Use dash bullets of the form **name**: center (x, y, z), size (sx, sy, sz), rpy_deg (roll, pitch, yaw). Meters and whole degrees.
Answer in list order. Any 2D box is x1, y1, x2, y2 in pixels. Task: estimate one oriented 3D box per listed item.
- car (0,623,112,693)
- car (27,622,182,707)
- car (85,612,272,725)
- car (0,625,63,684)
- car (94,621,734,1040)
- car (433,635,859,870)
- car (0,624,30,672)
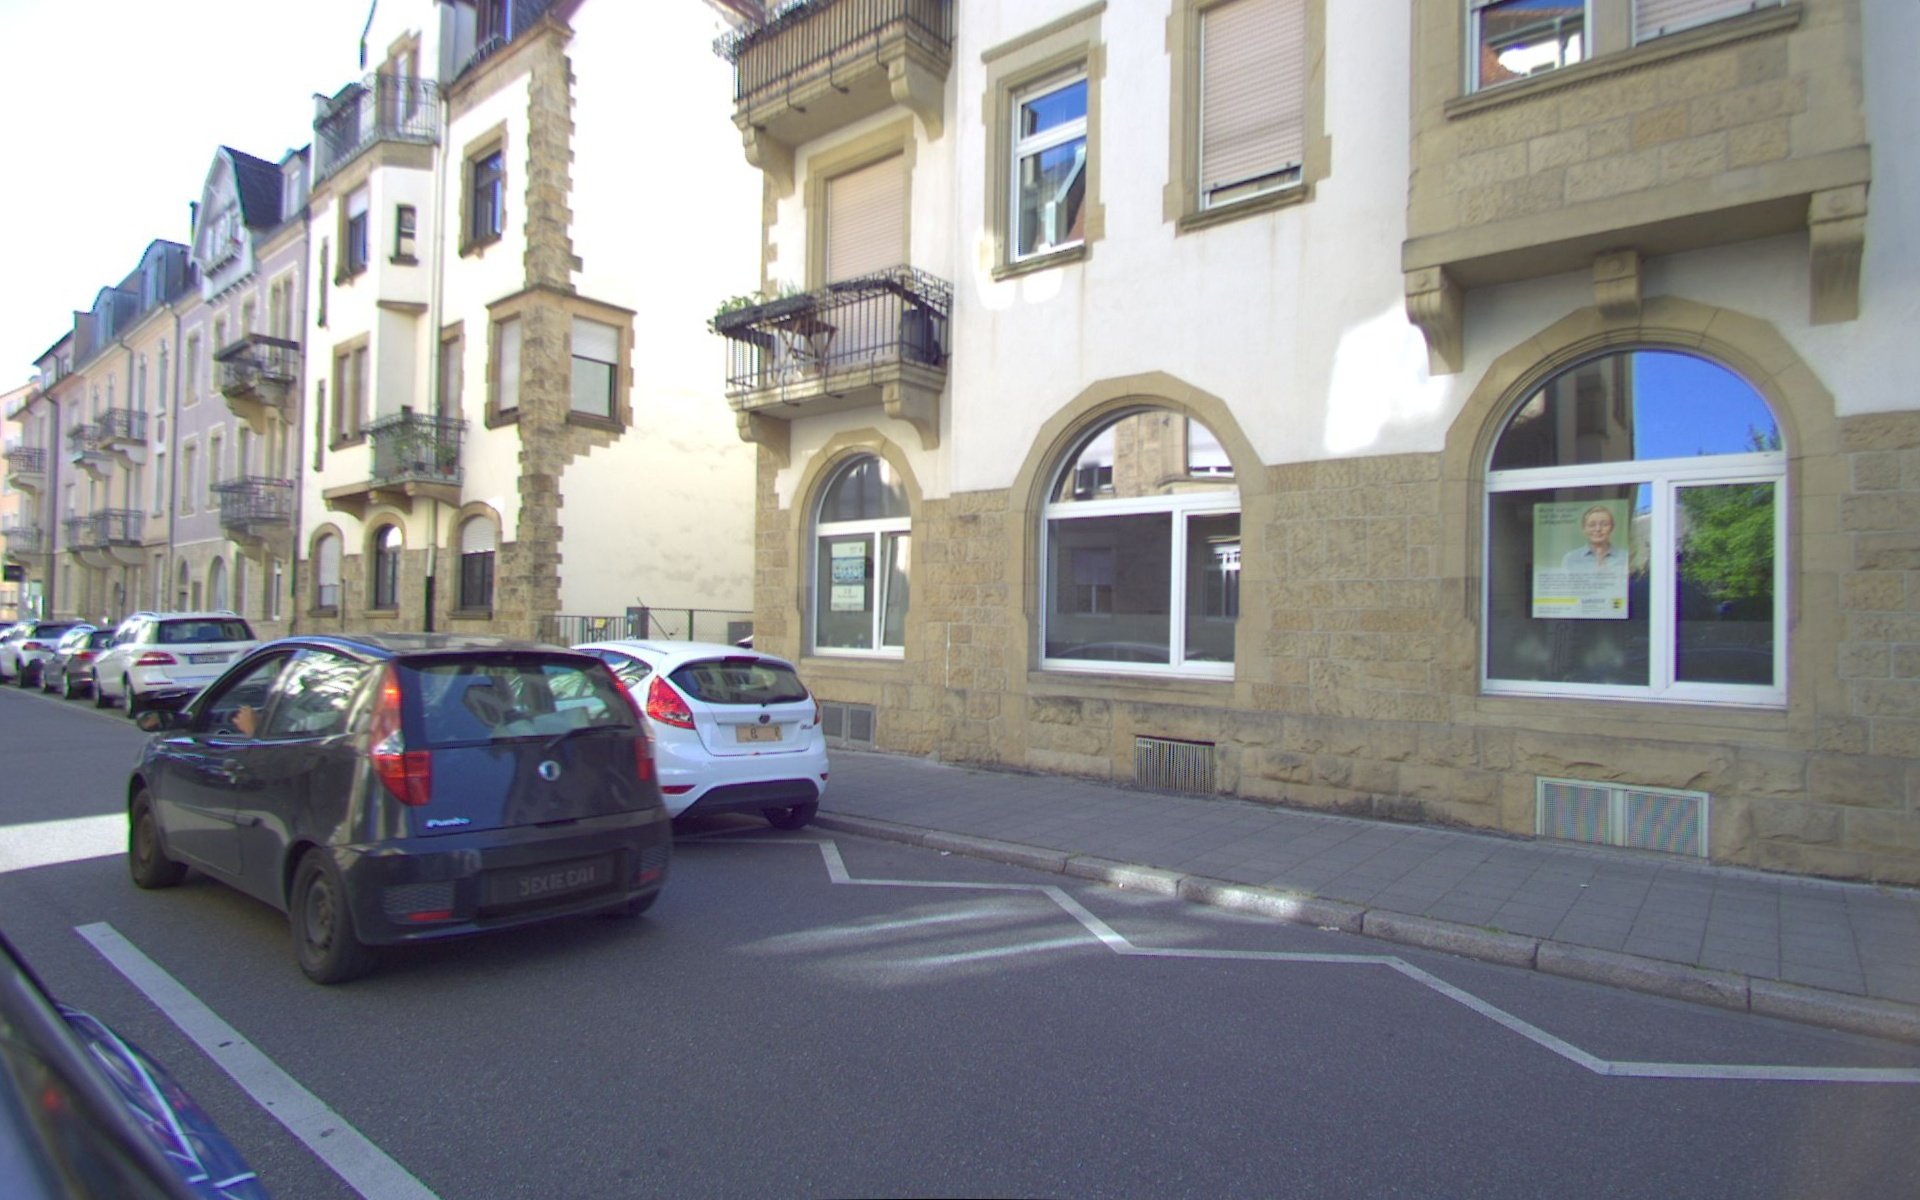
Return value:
- **car**: center (-22.946, 1.385, 25.429), size (4.319, 1.520, 1.866), rpy_deg (-1, 0, 41)
- **car**: center (-18.443, 1.292, 21.747), size (4.319, 1.519, 1.866), rpy_deg (-1, 2, 41)
- **car**: center (-13.970, 1.100, 18.010), size (4.209, 1.740, 1.866), rpy_deg (-1, 0, 41)
- **car**: center (-27.155, 1.519, 28.868), size (4.317, 1.511, 1.833), rpy_deg (-1, 0, 41)
- **car**: center (-3.024, 0.852, 5.344), size (3.638, 1.468, 1.636), rpy_deg (-1, -2, 38)
- **car**: center (-2.666, 1.047, 8.203), size (3.642, 1.469, 1.634), rpy_deg (-2, -5, 42)
- **car**: center (-33.074, 1.609, 34.292), size (4.319, 1.520, 1.866), rpy_deg (-1, 0, 41)
